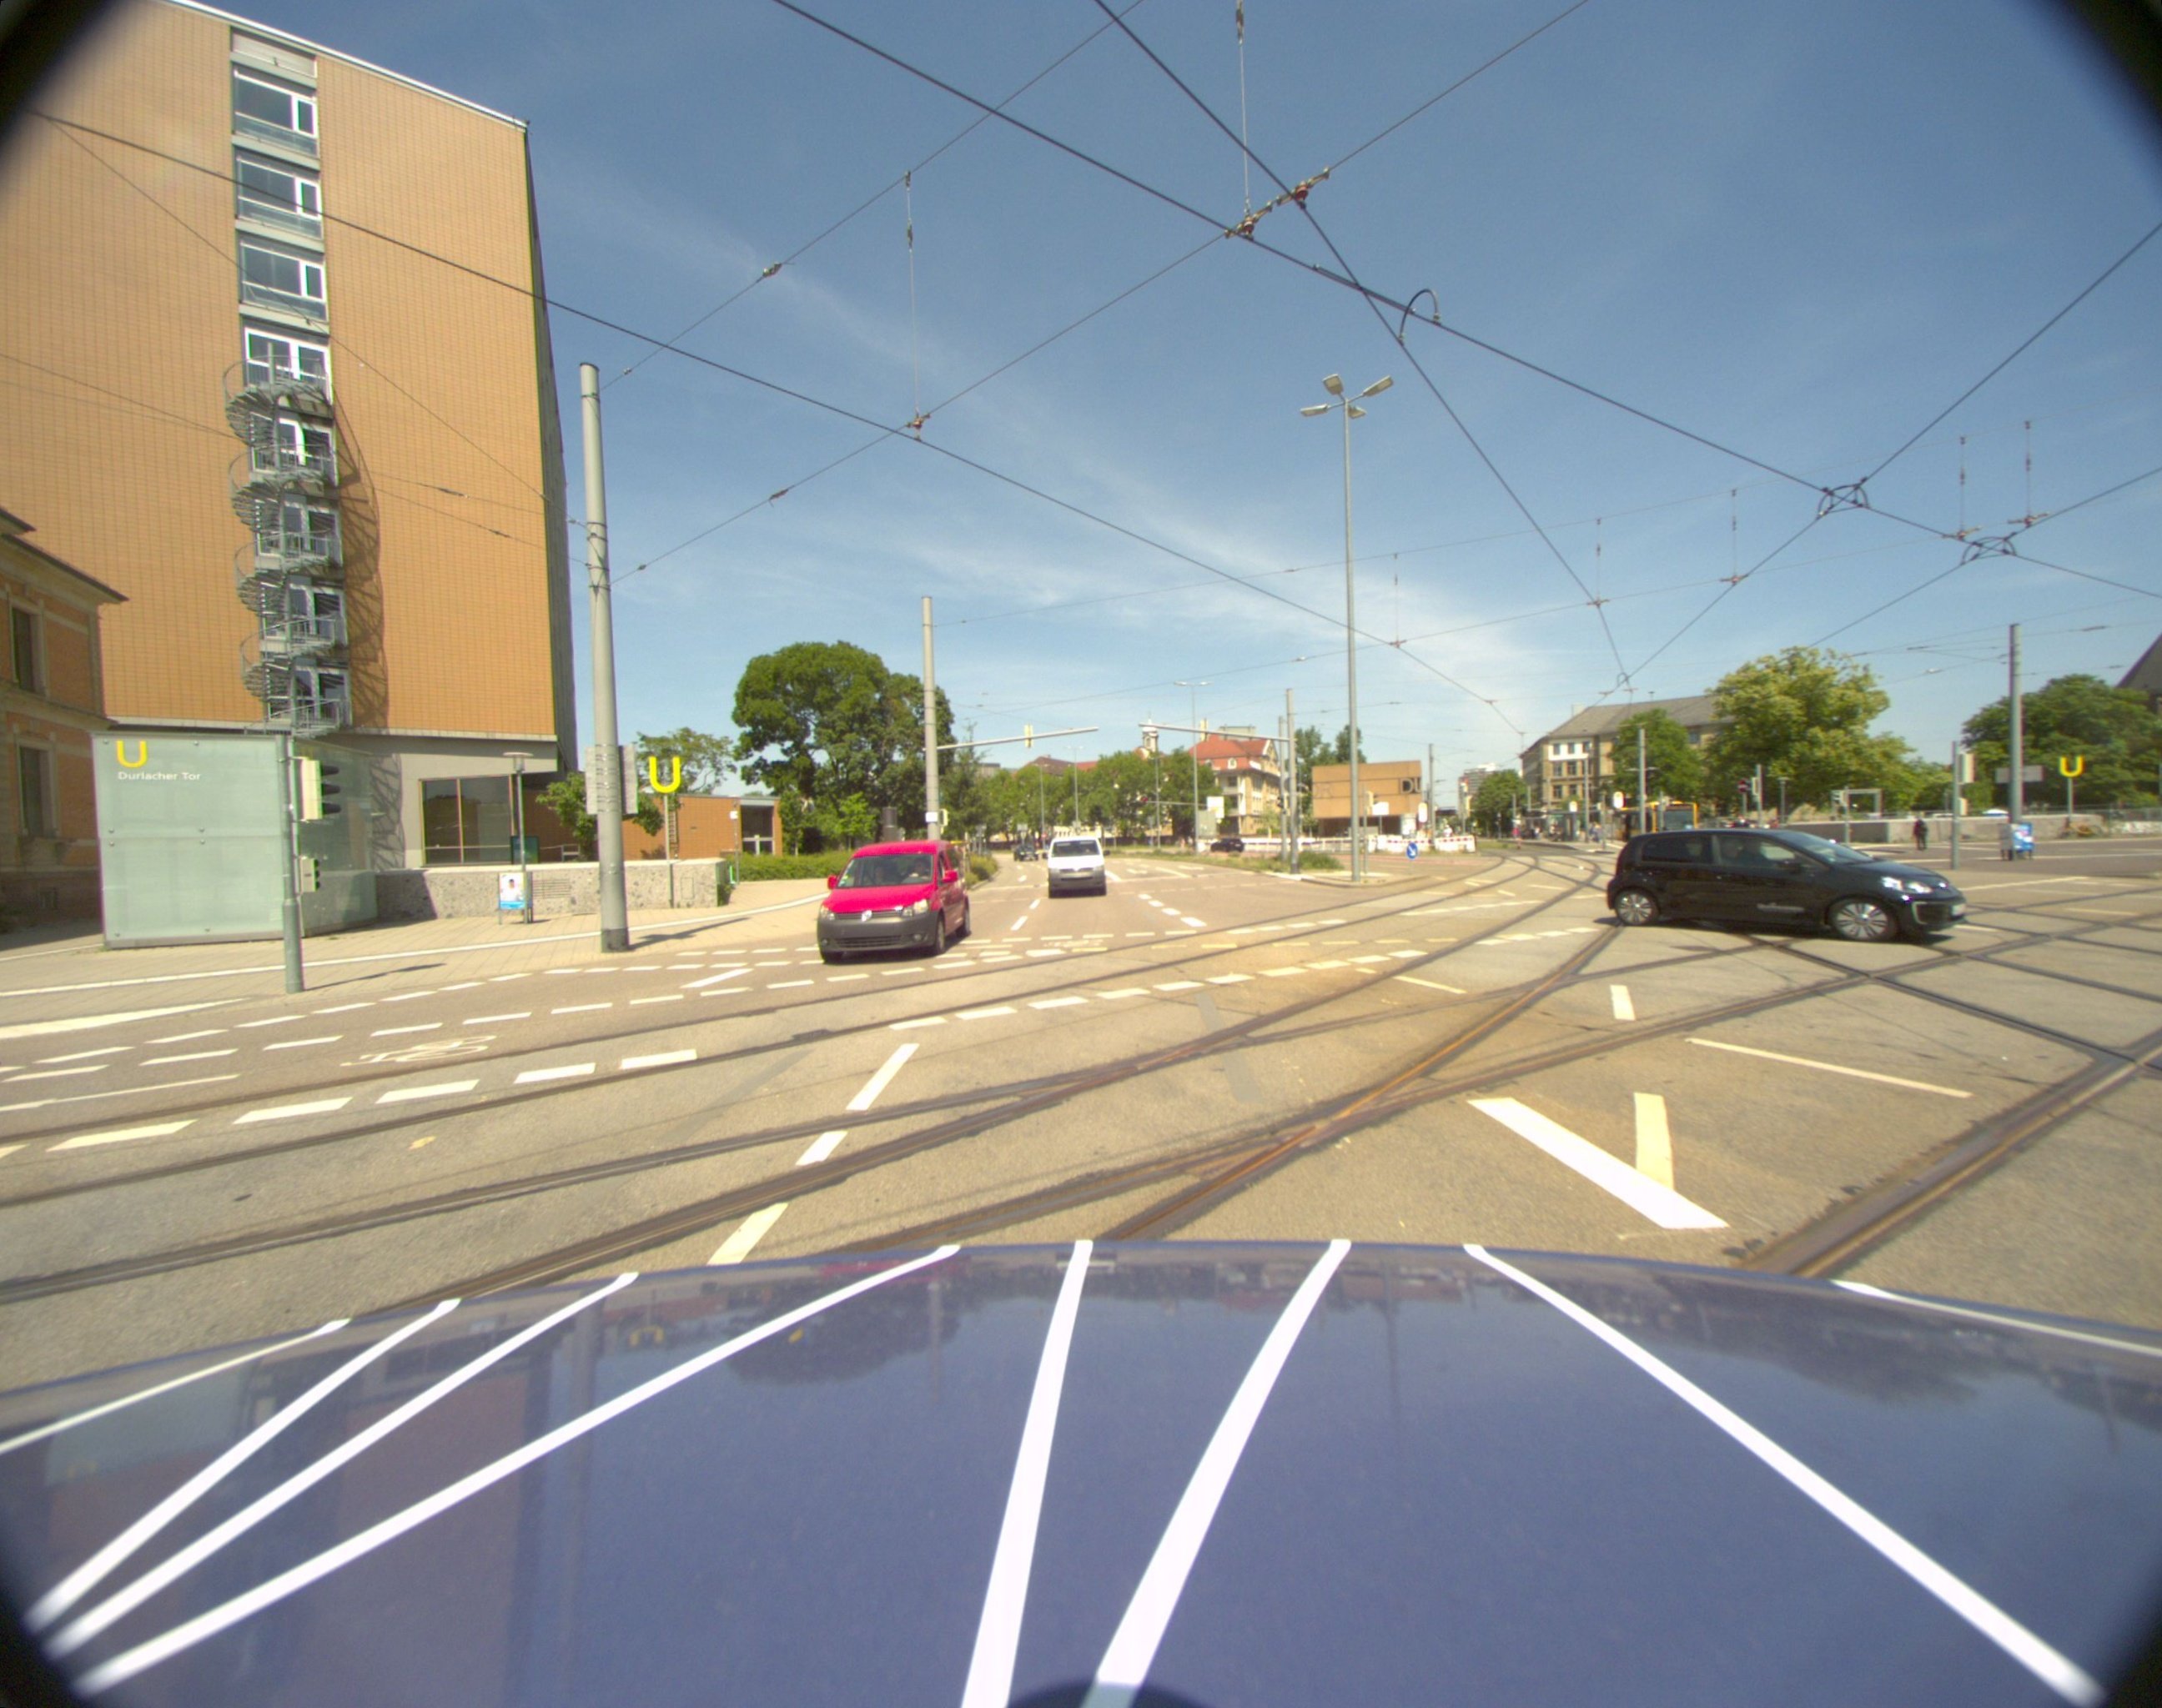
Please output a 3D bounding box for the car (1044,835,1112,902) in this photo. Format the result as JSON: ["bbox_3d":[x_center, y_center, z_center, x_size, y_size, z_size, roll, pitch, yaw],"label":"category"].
[{"bbox_3d":[-0.137,0.395,25.728,1.971,1.959,4.847,-3,1,-1],"label":"car"}]

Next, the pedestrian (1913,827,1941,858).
[{"bbox_3d":[37.307,-0.505,33.524,0.526,1.327,1.000,-1,2,30],"label":"pedestrian"}]

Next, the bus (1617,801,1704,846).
[{"bbox_3d":[43.311,-2.233,57.236,2.850,2.999,12.239,-1,1,26],"label":"bus"}]

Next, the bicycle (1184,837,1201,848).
[{"bbox_3d":[11.735,-1.175,80.026,0.879,1.066,2.228,-4,2,-17],"label":"bicycle"}]

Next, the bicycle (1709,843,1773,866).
[{"bbox_3d":[25.605,0.014,29.492,1.898,0.850,0.628,-2,1,1],"label":"bicycle"}]

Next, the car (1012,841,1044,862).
[{"bbox_3d":[-5.317,-0.229,75.978,2.002,2.002,3.992,-2,1,-23],"label":"car"}]

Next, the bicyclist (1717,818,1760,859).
[{"bbox_3d":[25.565,-0.615,29.537,1.253,1.521,0.438,-3,2,1],"label":"bicyclist"}]

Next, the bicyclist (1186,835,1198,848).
[{"bbox_3d":[11.666,-1.283,80.112,0.587,1.348,1.437,-4,2,-17],"label":"bicyclist"}]

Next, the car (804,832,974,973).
[{"bbox_3d":[-2.925,0.621,12.609,1.655,1.848,4.544,-3,1,-1],"label":"car"}]

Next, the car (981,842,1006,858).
[{"bbox_3d":[-10.656,-0.504,92.264,2.002,1.740,3.992,-4,2,-21],"label":"car"}]

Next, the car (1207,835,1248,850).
[{"bbox_3d":[14.346,-1.129,74.737,2.001,1.457,4.839,-2,1,-14],"label":"car"}]

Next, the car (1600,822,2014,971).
[{"bbox_3d":[9.597,0.470,10.364,1.752,1.567,3.729,-4,1,-31],"label":"car"}]

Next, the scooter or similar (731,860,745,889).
[{"bbox_3d":[-14.432,0.843,31.966,0.459,1.164,1.248,-2,1,-22],"label":"scooter or similar"}]
